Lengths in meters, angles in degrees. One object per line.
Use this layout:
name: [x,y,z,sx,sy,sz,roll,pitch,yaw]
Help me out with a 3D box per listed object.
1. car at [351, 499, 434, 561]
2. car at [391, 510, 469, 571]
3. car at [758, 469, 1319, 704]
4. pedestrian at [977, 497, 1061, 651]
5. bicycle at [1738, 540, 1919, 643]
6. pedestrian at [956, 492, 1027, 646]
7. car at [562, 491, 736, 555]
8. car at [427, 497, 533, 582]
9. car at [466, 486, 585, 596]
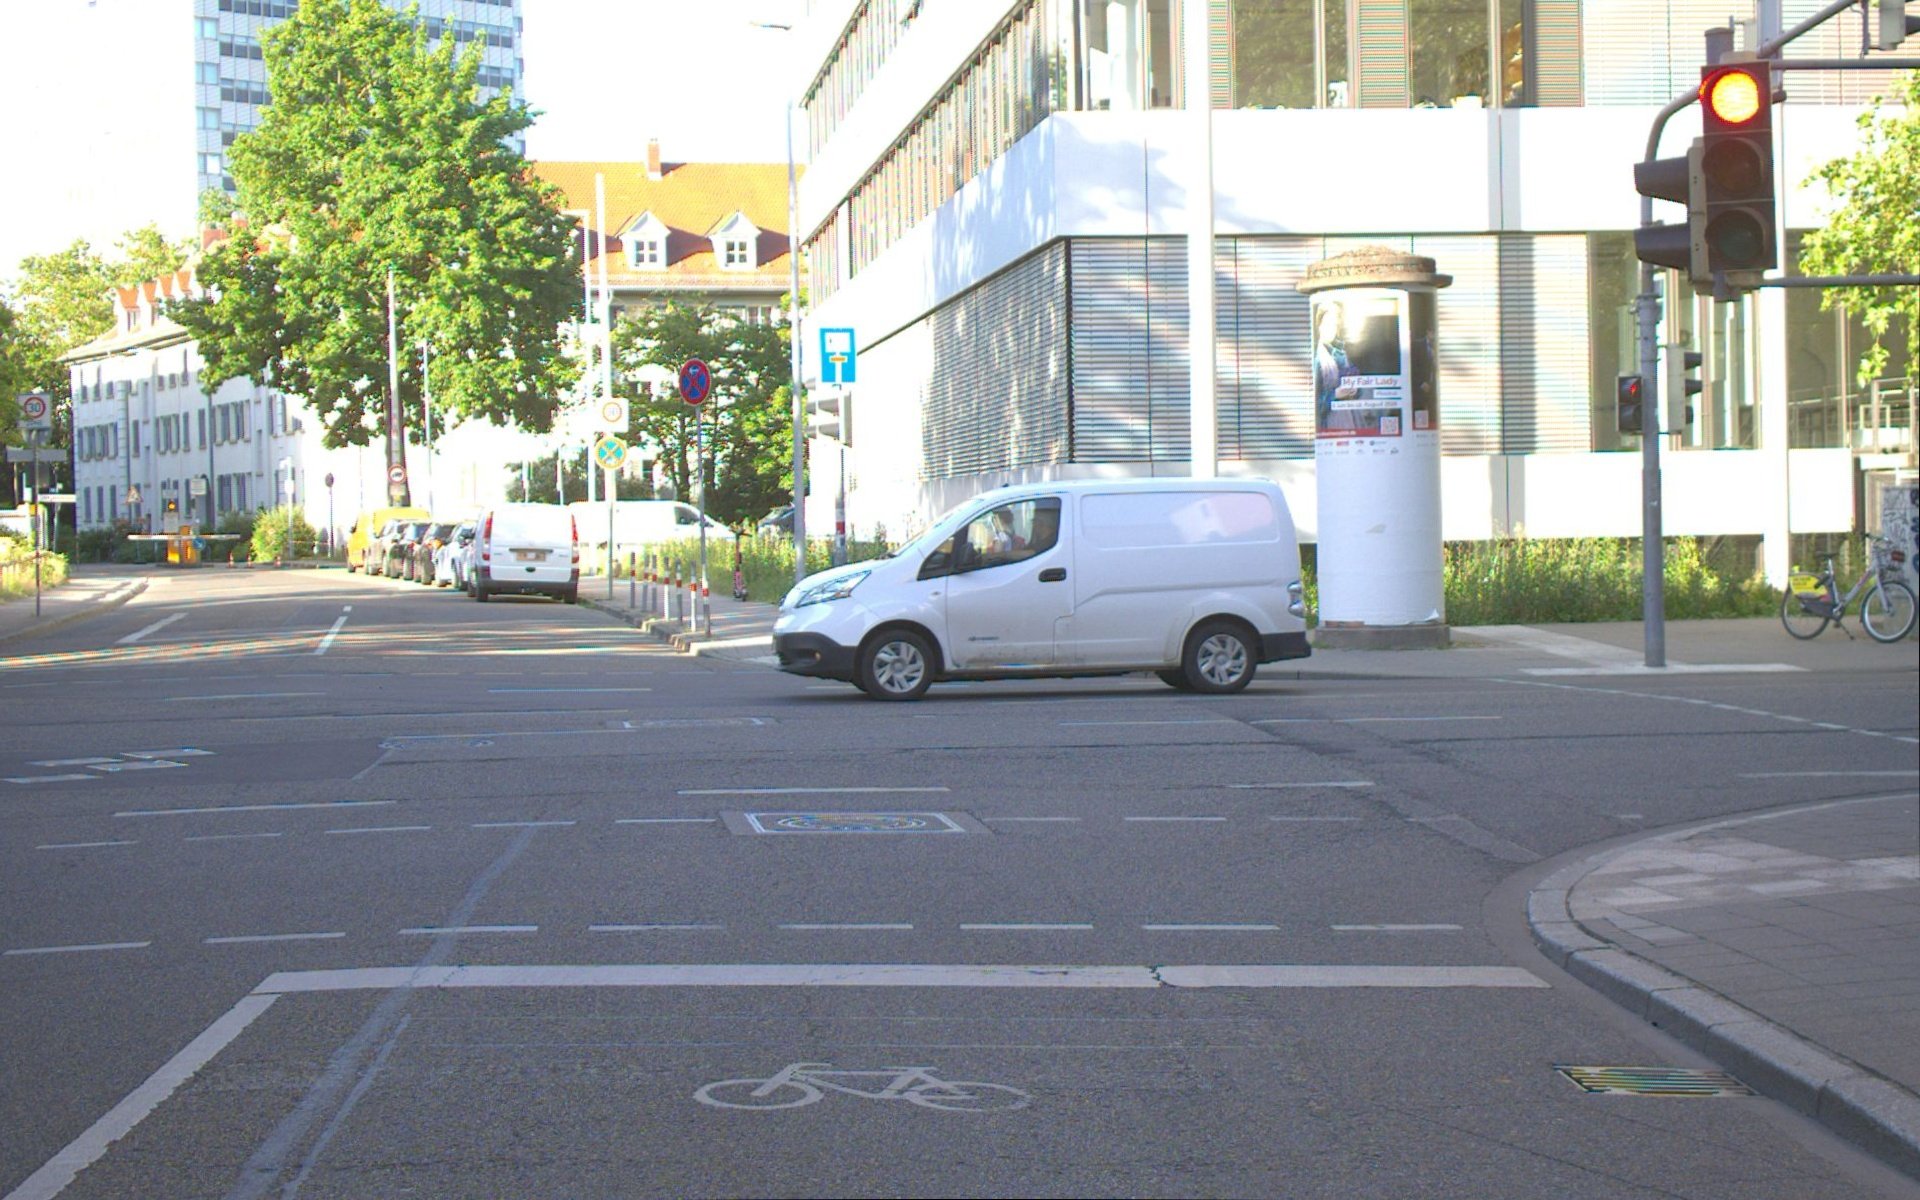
car: [-15.825,-1.969,95.751,2.100,1.652,4.477,-1,2,-11]
car: [-13.266,-1.507,85.938,1.703,1.459,4.239,-1,2,-11]
car: [0.629,-0.141,29.321,4.539,1.793,1.637,-2,2,-7]
pedestrian: [0.619,-0.278,36.159,0.712,1.594,0.617,-1,1,17]
bicycle: [9.149,-0.097,36.243,0.463,1.045,1.914,-2,2,-42]
pedestrian: [0.362,-0.360,39.339,0.653,1.730,0.812,-1,1,11]
car: [-9.332,-2.294,102.950,4.880,1.865,2.001,0,1,-17]
car: [-10.718,-1.363,76.566,1.946,1.789,4.239,-1,2,-13]
car: [-8.225,-1.130,64.747,2.066,1.956,4.239,-1,2,-9]
